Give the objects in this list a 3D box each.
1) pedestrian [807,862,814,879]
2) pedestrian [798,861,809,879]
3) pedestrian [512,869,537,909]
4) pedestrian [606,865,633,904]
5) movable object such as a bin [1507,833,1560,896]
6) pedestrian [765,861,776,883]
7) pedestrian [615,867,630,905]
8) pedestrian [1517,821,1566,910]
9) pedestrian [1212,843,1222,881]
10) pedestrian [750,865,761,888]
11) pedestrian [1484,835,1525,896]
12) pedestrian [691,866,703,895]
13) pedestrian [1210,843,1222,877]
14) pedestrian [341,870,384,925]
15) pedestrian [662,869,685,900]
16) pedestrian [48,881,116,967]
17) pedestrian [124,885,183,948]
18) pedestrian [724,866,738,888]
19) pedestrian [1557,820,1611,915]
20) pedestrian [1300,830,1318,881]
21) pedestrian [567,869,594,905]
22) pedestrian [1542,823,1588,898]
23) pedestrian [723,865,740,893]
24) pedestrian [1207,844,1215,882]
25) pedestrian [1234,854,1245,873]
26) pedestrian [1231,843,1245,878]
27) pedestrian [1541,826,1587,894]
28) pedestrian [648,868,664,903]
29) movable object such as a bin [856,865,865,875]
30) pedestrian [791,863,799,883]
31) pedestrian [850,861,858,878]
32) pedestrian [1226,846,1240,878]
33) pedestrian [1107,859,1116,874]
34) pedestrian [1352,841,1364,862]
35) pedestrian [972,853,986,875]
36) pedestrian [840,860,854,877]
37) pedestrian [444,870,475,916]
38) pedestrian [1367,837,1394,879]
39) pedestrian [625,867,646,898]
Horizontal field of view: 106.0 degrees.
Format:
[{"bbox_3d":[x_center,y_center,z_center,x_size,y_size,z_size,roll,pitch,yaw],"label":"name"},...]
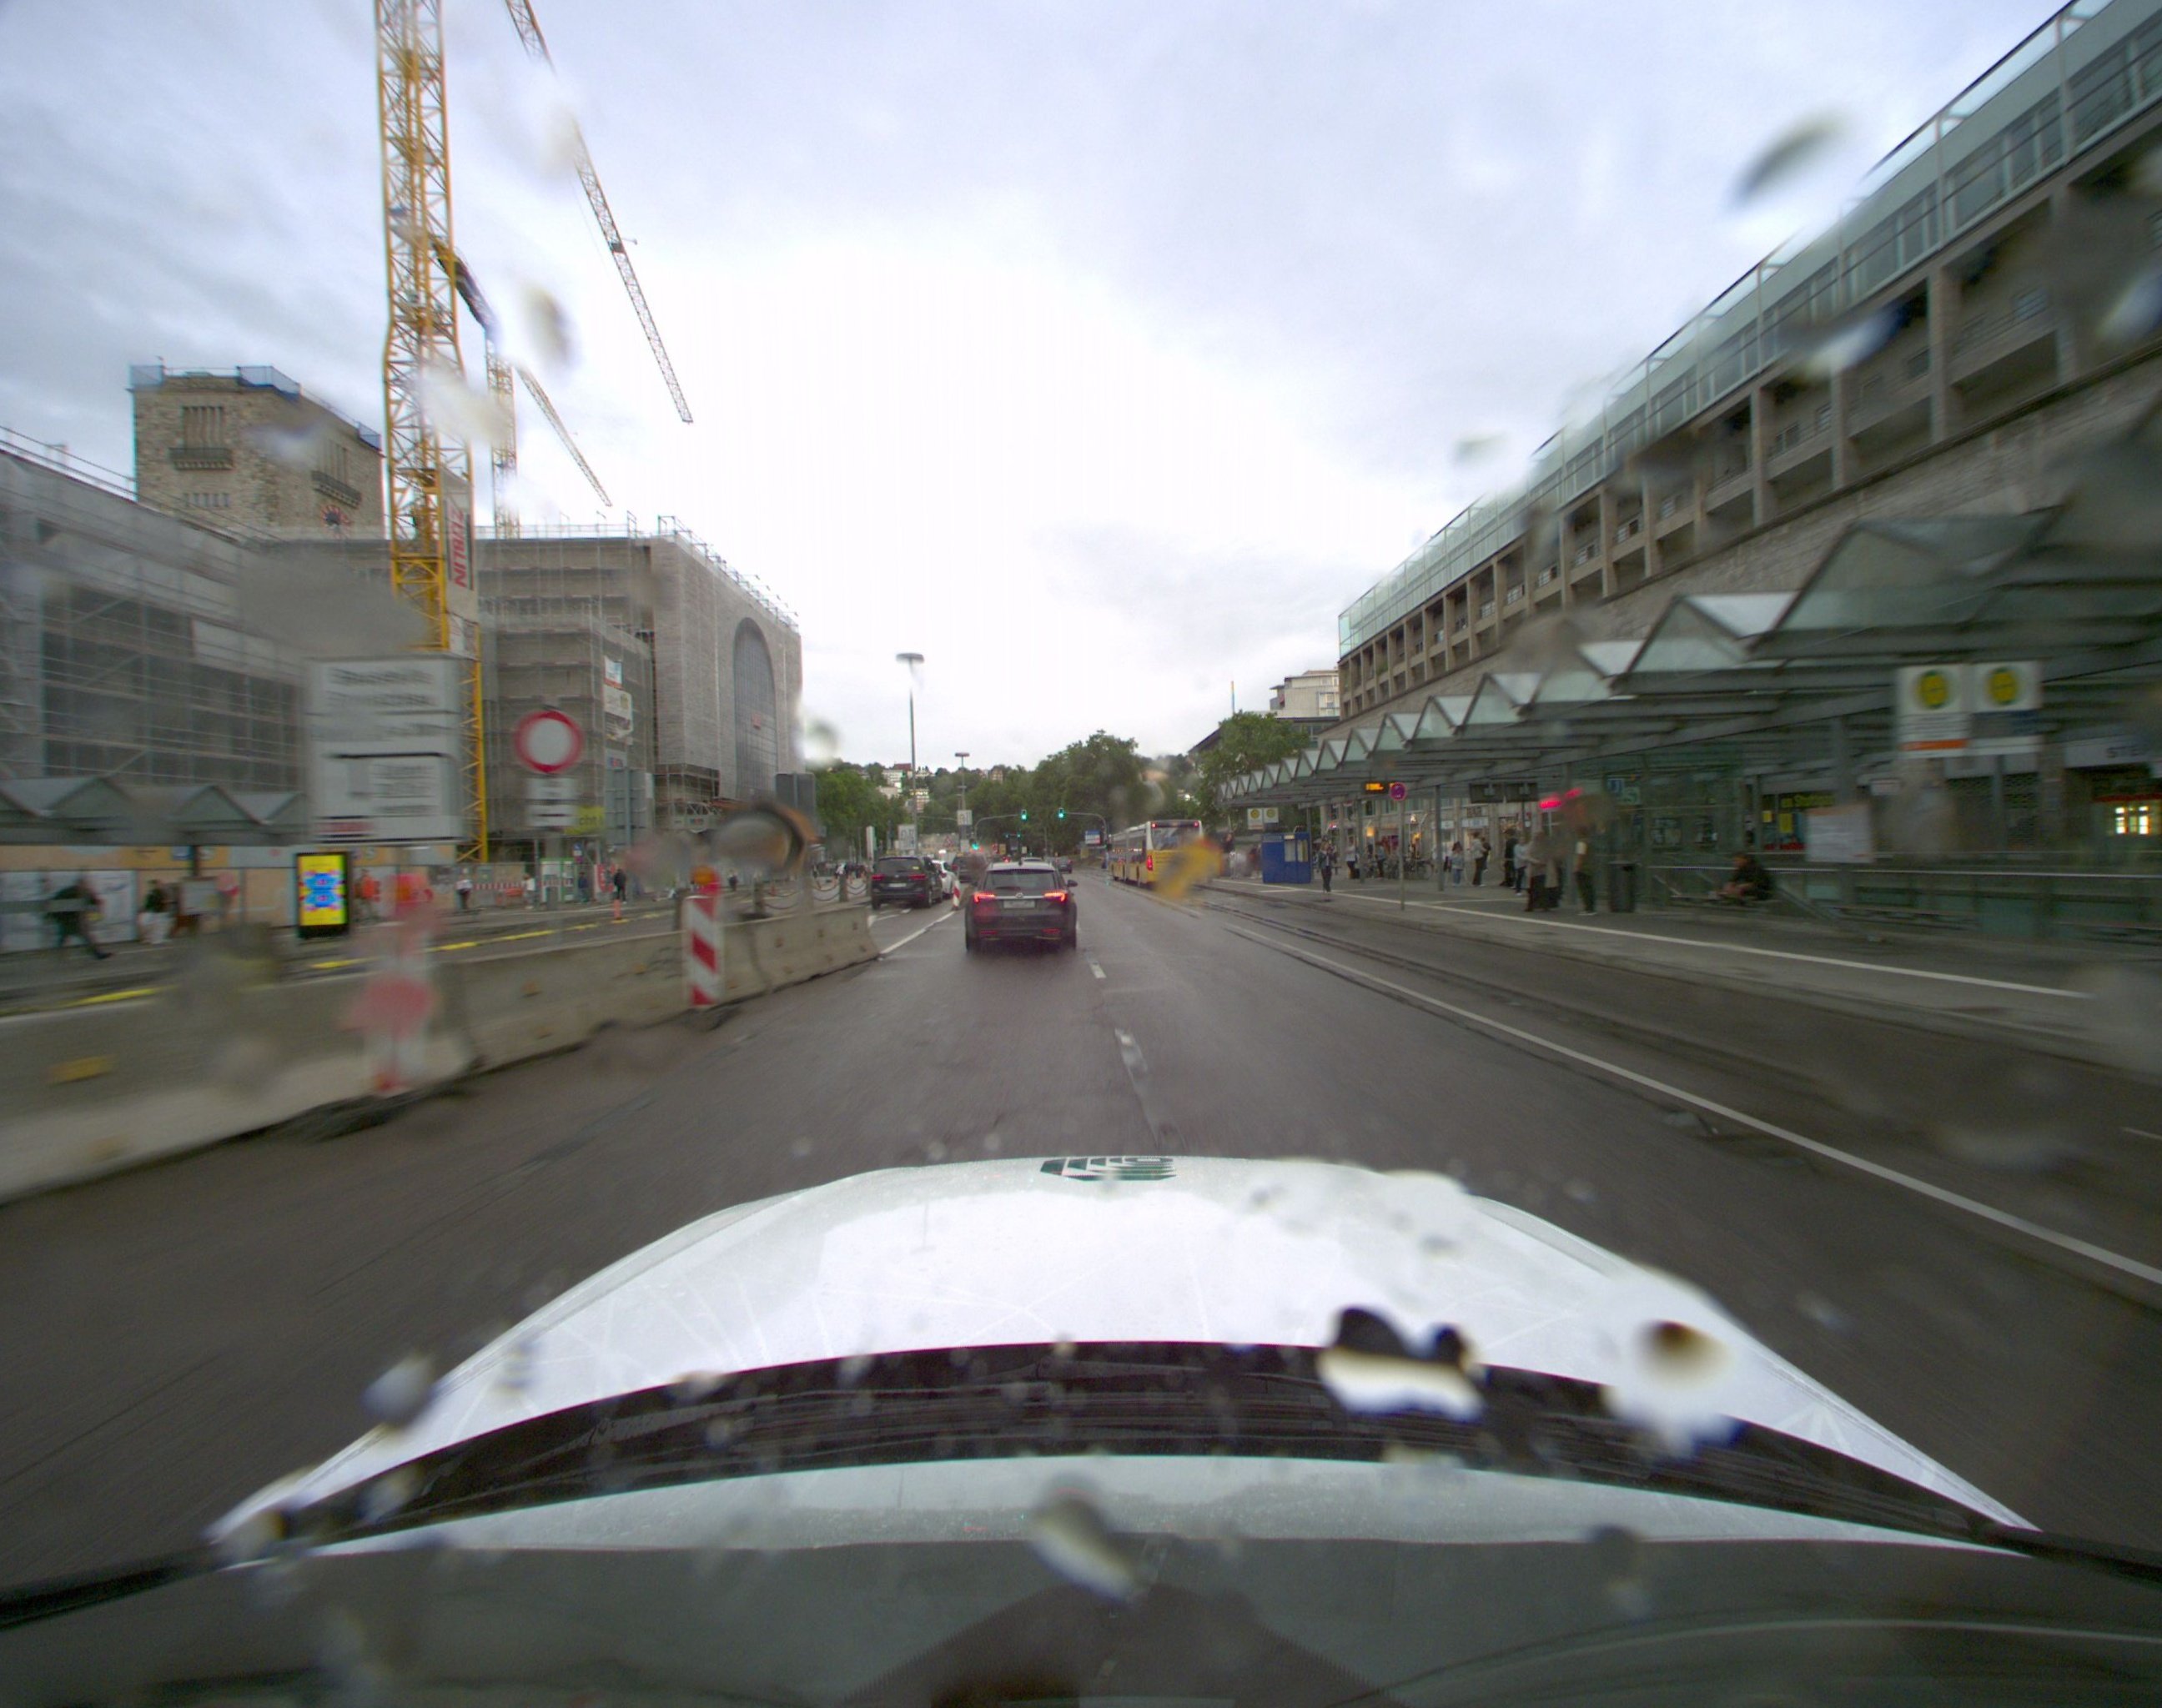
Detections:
[{"bbox_3d":[-29.341,1.823,88.337,0.676,1.841,0.716,-1,0,-17],"label":"pedestrian"},{"bbox_3d":[-28.252,1.637,82.920,0.777,1.841,0.770,-2,0,-4],"label":"pedestrian"},{"bbox_3d":[-25.866,1.614,37.860,0.719,1.841,0.612,-1,0,1],"label":"pedestrian"},{"bbox_3d":[-22.614,1.492,39.945,0.695,1.841,0.883,-2,0,26],"label":"pedestrian"},{"bbox_3d":[12.258,0.282,22.079,0.666,1.652,1.040,-1,0,-26],"label":"movable object such as a bin"},{"bbox_3d":[-26.806,1.534,70.366,0.773,1.841,0.830,-1,0,-17],"label":"pedestrian"},{"bbox_3d":[-22.896,1.600,40.660,0.336,1.841,0.511,-2,0,13],"label":"pedestrian"},{"bbox_3d":[9.757,0.243,17.270,0.673,1.836,0.574,-1,0,-1],"label":"pedestrian"},{"bbox_3d":[6.546,0.387,39.116,0.345,1.836,0.533,-1,0,1],"label":"pedestrian"},{"bbox_3d":[-24.375,1.701,61.001,0.683,1.685,0.834,-1,0,-17],"label":"pedestrian"},{"bbox_3d":[11.889,0.310,22.869,0.763,1.654,0.674,-1,0,-26],"label":"pedestrian"},{"bbox_3d":[-24.973,1.720,52.993,0.572,1.841,0.700,-1,0,-17],"label":"pedestrian"},{"bbox_3d":[7.446,0.316,44.949,0.563,1.836,0.569,-1,0,0],"label":"pedestrian"},{"bbox_3d":[-25.657,1.539,29.106,0.740,1.939,0.863,1,-1,-3],"label":"pedestrian"},{"bbox_3d":[-24.714,1.821,49.395,0.836,1.841,1.058,-1,0,1],"label":"pedestrian"},{"bbox_3d":[-22.142,1.528,18.051,0.739,1.841,0.705,-2,0,17],"label":"pedestrian"},{"bbox_3d":[-25.887,1.734,22.748,0.802,1.670,0.700,-1,0,-8],"label":"pedestrian"},{"bbox_3d":[-26.284,1.758,61.166,0.674,1.613,0.838,-1,0,-1],"label":"pedestrian"},{"bbox_3d":[9.995,0.256,16.206,0.625,1.836,0.641,-1,0,0],"label":"pedestrian"},{"bbox_3d":[10.087,0.075,36.018,0.588,2.215,0.587,-1,0,-1],"label":"pedestrian"},{"bbox_3d":[-26.042,1.719,42.401,0.800,1.841,0.868,-1,0,1],"label":"pedestrian"},{"bbox_3d":[12.153,0.151,20.477,0.745,1.836,0.764,-2,0,13],"label":"pedestrian"},{"bbox_3d":[-23.034,1.630,53.732,0.877,1.841,0.834,-1,0,-17],"label":"pedestrian"},{"bbox_3d":[6.224,0.425,39.059,0.242,1.836,0.512,-1,0,1],"label":"pedestrian"},{"bbox_3d":[10.390,0.629,53.428,0.512,1.232,0.770,-2,0,0],"label":"pedestrian"},{"bbox_3d":[8.486,0.348,44.056,0.689,1.836,0.557,-2,0,13],"label":"pedestrian"},{"bbox_3d":[13.519,0.156,22.806,0.749,1.848,0.760,-1,0,-6],"label":"pedestrian"},{"bbox_3d":[-22.499,1.659,43.112,0.507,1.841,0.702,-1,0,-9],"label":"pedestrian"},{"bbox_3d":[-24.140,1.746,89.259,0.757,0.970,0.719,-2,0,-5],"label":"movable object such as a bin"},{"bbox_3d":[-26.953,1.807,76.695,0.535,1.841,0.770,-1,0,-5],"label":"pedestrian"},{"bbox_3d":[-24.883,1.680,89.184,0.696,1.841,0.876,-1,-1,-5],"label":"pedestrian"},{"bbox_3d":[8.374,0.448,44.826,0.607,1.723,0.592,-1,0,1],"label":"pedestrian"},{"bbox_3d":[3.362,1.383,90.091,0.873,1.691,0.757,-2,0,-4],"label":"pedestrian"},{"bbox_3d":[24.187,-0.193,71.051,0.729,1.792,0.788,-2,0,-3],"label":"pedestrian"},{"bbox_3d":[-9.690,0.927,77.331,0.825,2.013,1.034,-2,0,34],"label":"pedestrian"},{"bbox_3d":[-25.120,1.560,87.371,0.975,1.841,1.046,-2,0,18],"label":"pedestrian"},{"bbox_3d":[-25.654,1.602,33.640,0.739,1.841,0.656,-1,0,1],"label":"pedestrian"},{"bbox_3d":[12.385,0.181,33.712,0.746,1.695,0.902,-1,0,0],"label":"pedestrian"},{"bbox_3d":[-27.137,1.754,49.627,0.800,1.841,0.851,-1,0,1],"label":"pedestrian"}]
